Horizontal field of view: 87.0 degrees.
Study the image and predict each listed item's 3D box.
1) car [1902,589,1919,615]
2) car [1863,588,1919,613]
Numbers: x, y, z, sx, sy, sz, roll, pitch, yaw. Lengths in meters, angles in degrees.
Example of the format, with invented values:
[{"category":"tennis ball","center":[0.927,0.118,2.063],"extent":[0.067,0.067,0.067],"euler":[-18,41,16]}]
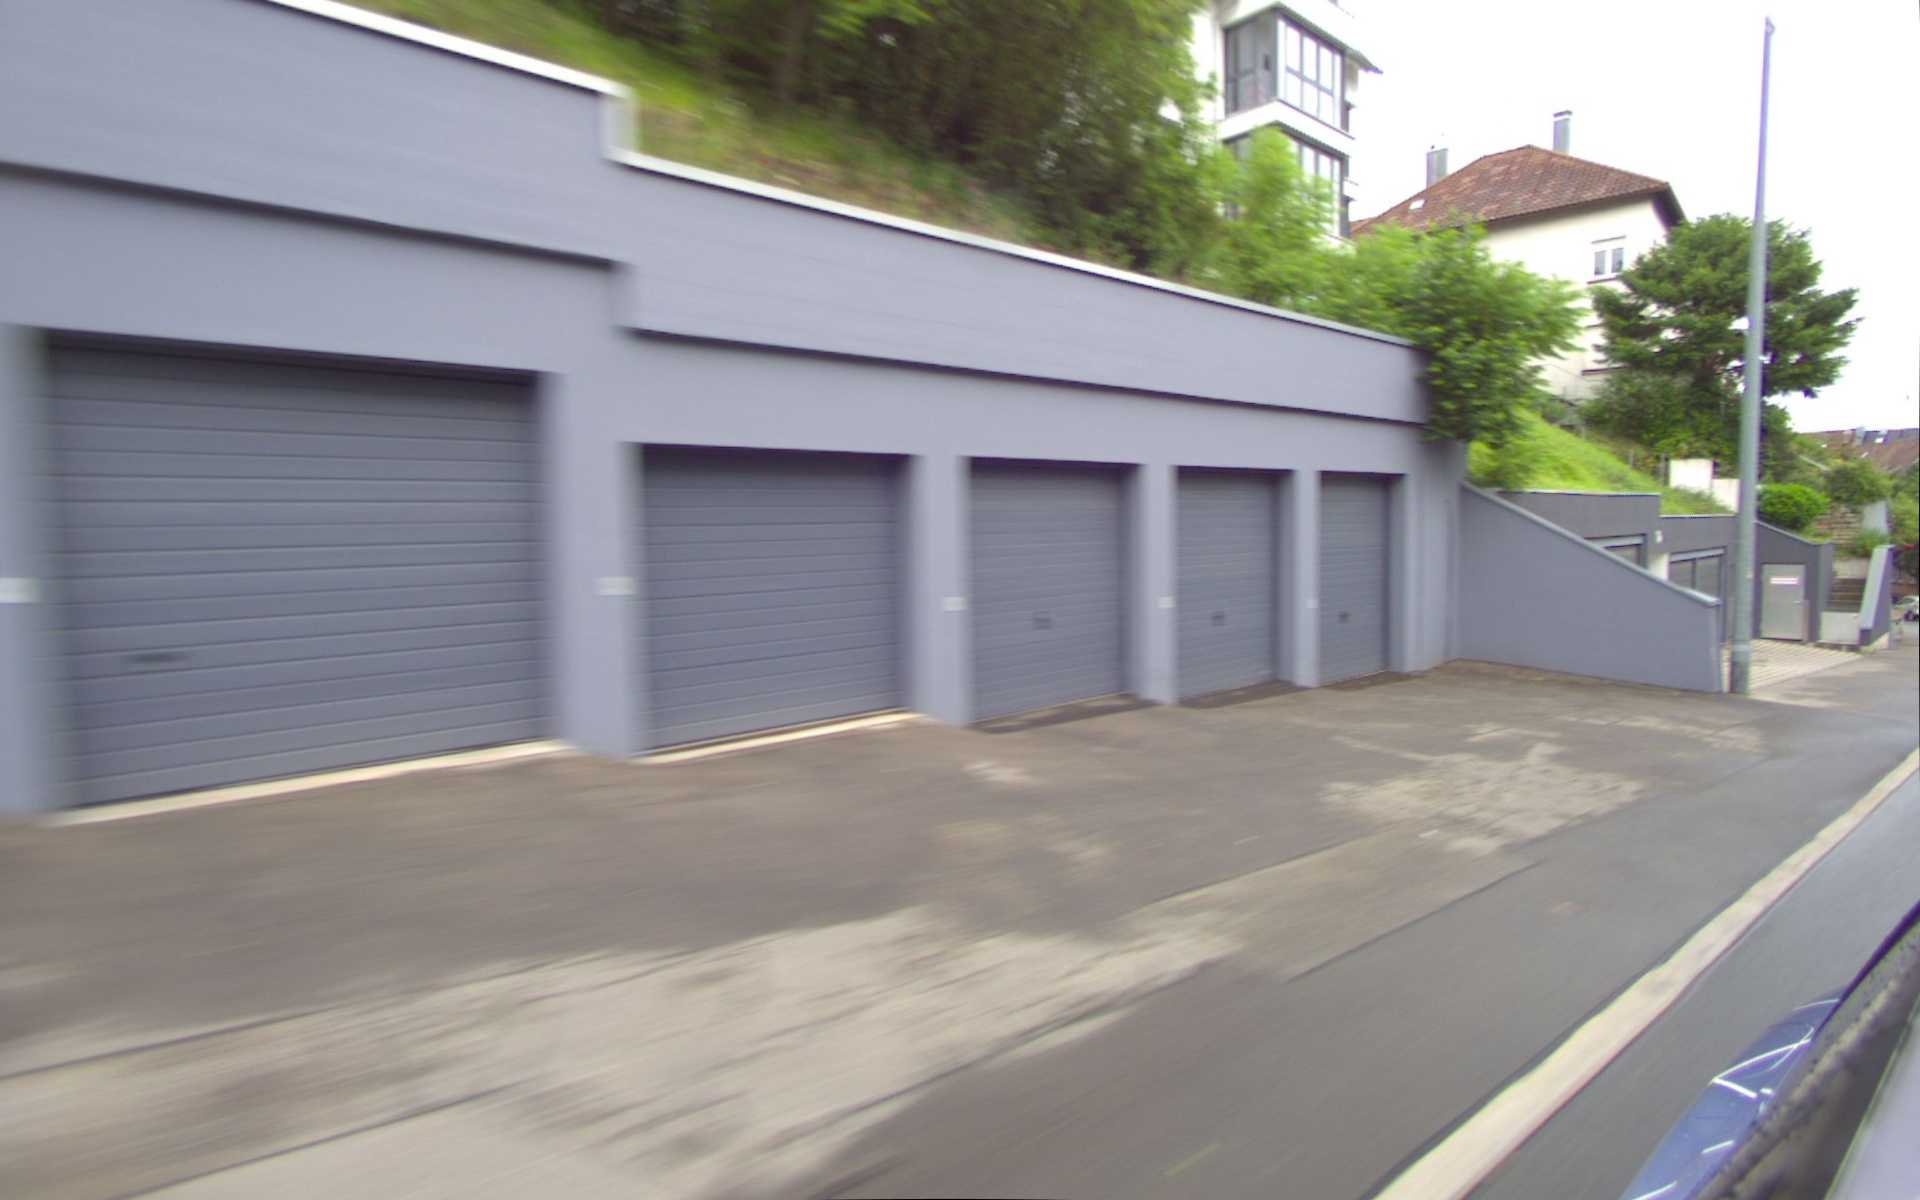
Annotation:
[{"category":"car","center":[64.437,0.152,66.975],"extent":[1.735,1.711,4.559],"euler":[0,0,26]},{"category":"car","center":[66.278,0.013,71.849],"extent":[1.772,1.662,4.446],"euler":[0,0,22]}]
